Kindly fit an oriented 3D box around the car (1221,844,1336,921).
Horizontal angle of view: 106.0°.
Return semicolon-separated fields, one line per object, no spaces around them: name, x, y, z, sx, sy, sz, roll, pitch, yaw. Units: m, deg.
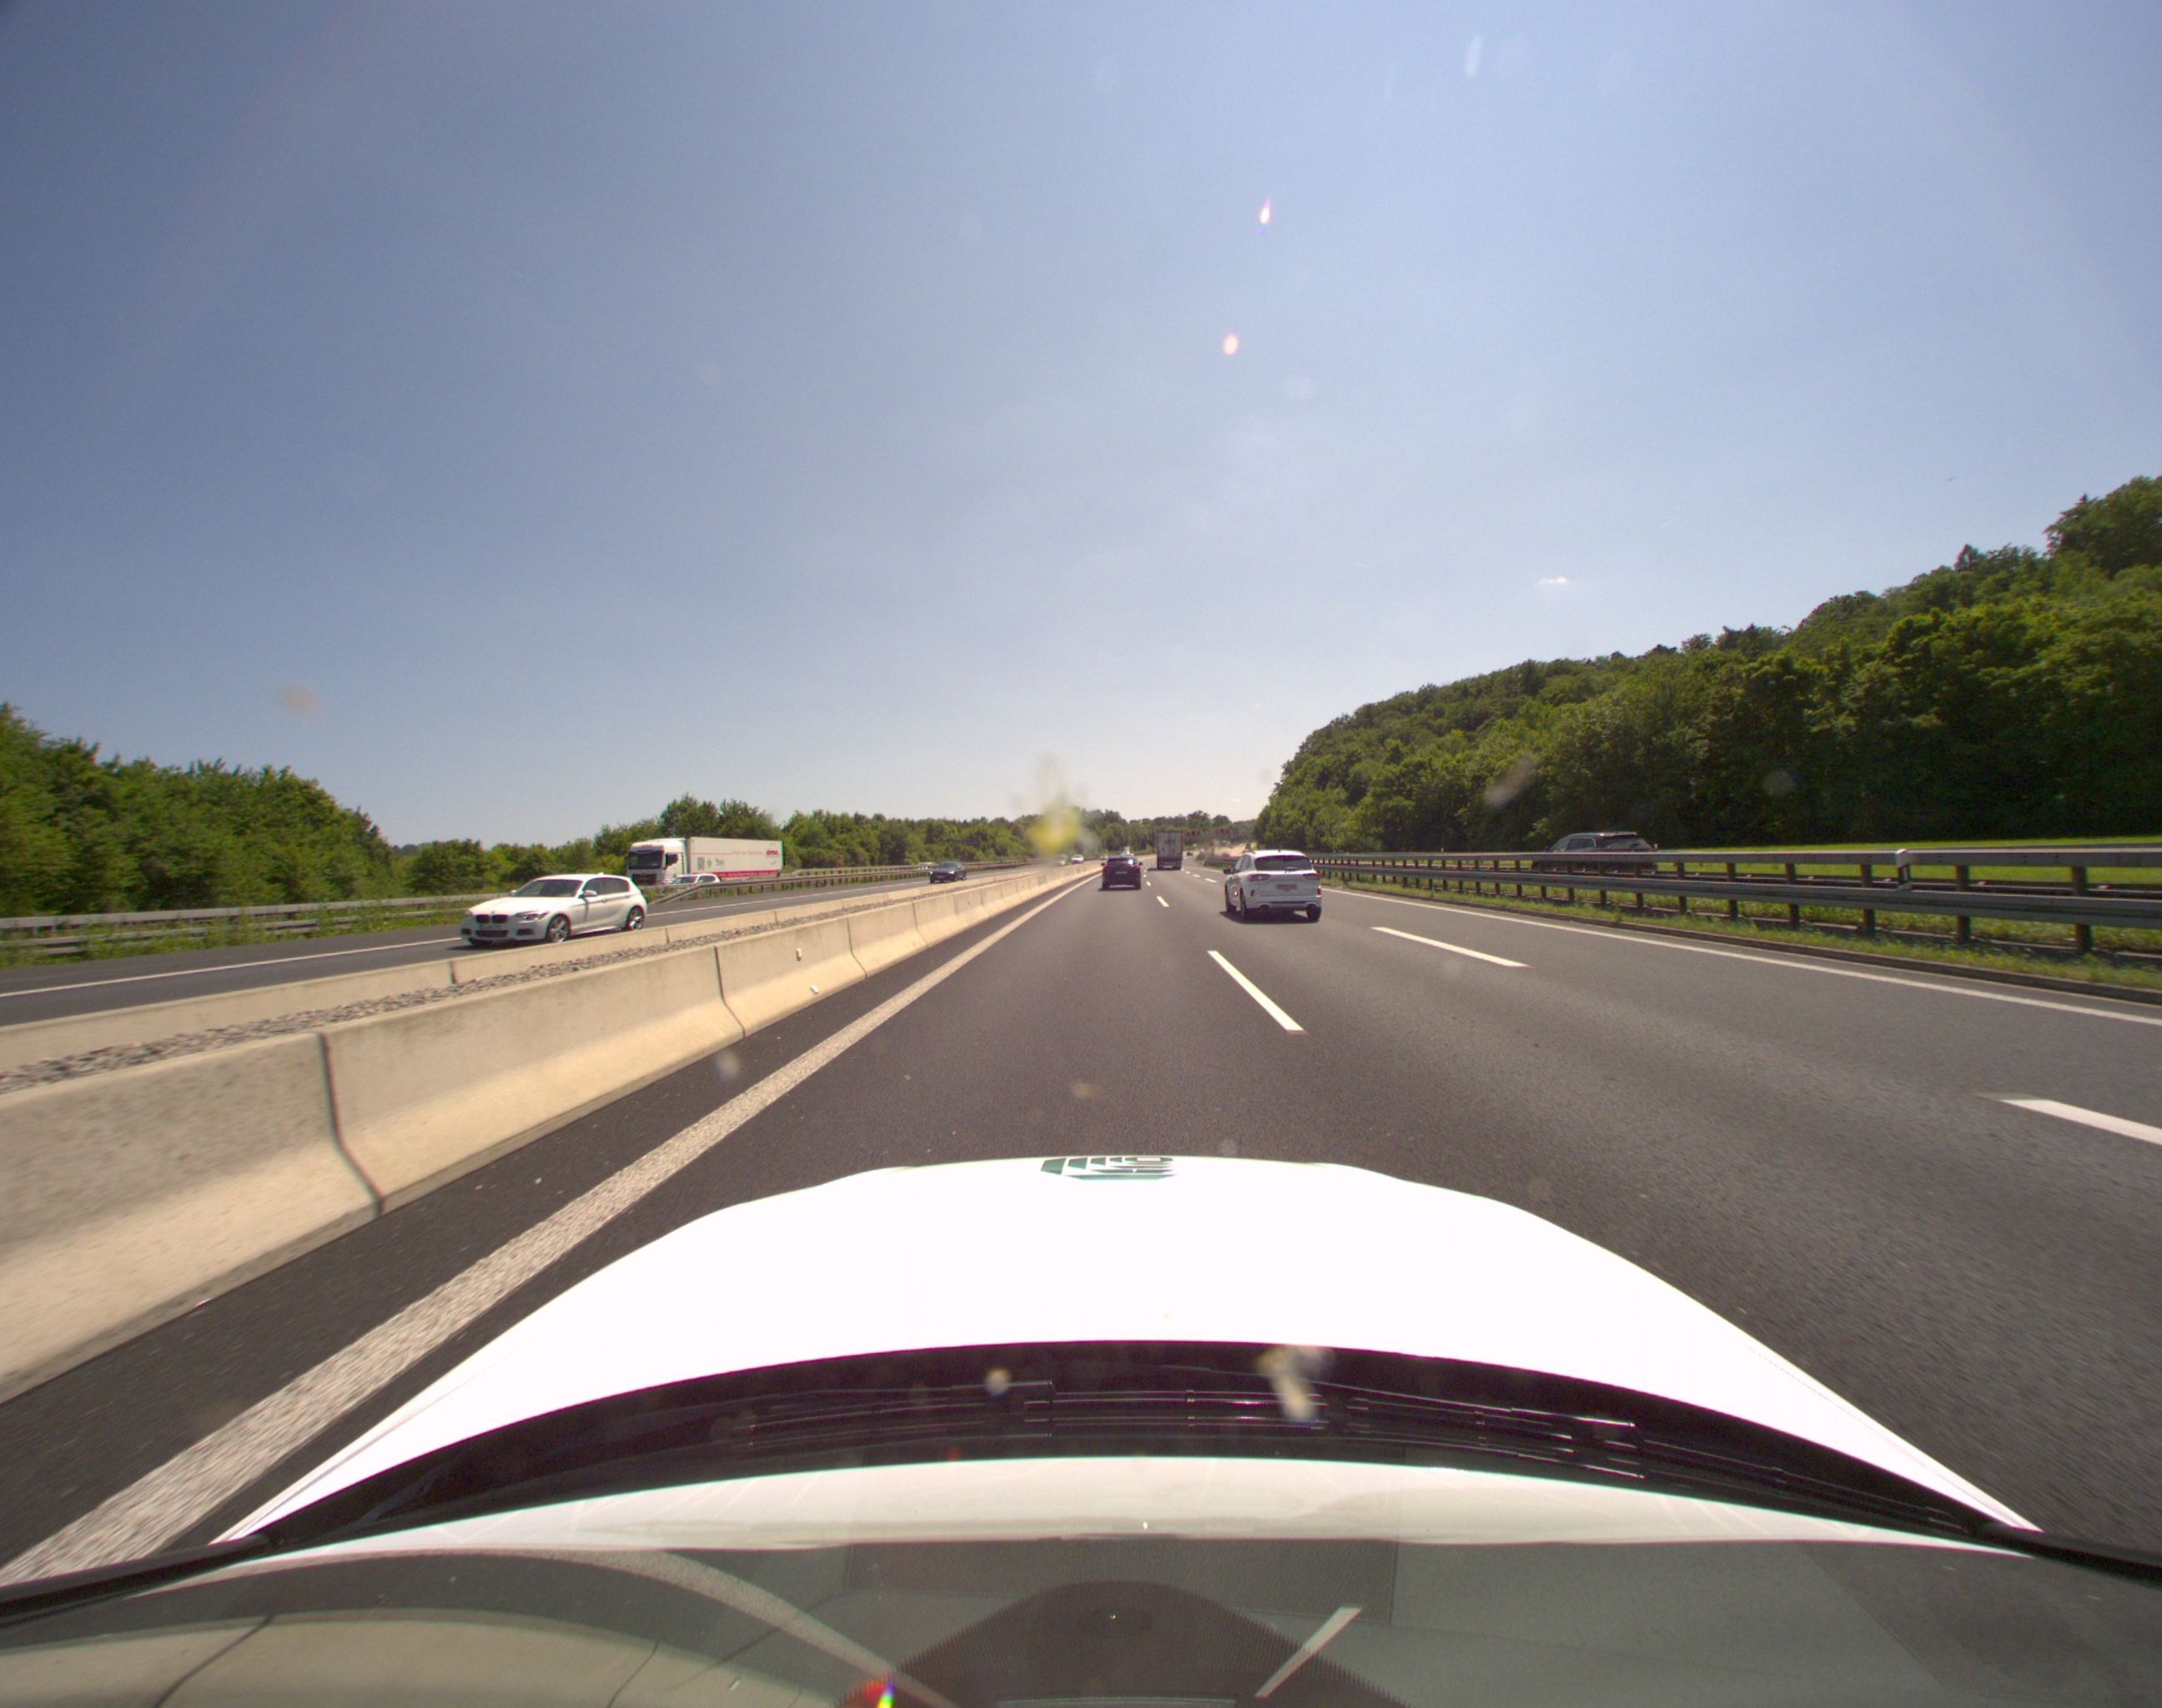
car;4.781;0.665;20.380;1.985;1.662;4.471;-1;-1;3

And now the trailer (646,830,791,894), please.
trailer;-25.668;0.612;59.066;3.093;3.997;14.102;-2;-1;5

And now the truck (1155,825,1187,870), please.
truck;9.616;-0.564;88.277;3.018;4.418;12.034;-2;-1;5

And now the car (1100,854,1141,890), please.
car;1.825;0.855;38.973;1.773;1.577;3.999;-1;-1;0

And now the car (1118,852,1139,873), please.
car;5.029;0.925;86.612;1.985;2.013;4.003;-5;0;3

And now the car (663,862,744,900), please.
car;-22.230;1.533;48.238;1.985;2.013;5.324;-2;0;3

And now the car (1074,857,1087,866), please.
car;-0.044;1.326;146.882;1.779;1.632;4.936;-1;0;5

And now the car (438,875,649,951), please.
car;-11.551;1.196;17.900;1.843;1.395;4.003;0;0;3

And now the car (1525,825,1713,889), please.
car;15.907;0.108;24.587;1.987;1.662;5.626;-1;-1;1

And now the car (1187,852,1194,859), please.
car;34.232;0.398;253.981;1.982;2.014;4.008;-2;-1;8

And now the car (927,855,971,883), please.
car;-9.276;1.045;57.593;1.985;1.824;4.909;-1;-1;3

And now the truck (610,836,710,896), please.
truck;-26.310;0.738;51.212;3.069;3.504;5.416;-2;-1;5

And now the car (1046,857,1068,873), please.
car;-2.838;1.349;97.964;2.026;1.858;5.380;-1;-1;4
